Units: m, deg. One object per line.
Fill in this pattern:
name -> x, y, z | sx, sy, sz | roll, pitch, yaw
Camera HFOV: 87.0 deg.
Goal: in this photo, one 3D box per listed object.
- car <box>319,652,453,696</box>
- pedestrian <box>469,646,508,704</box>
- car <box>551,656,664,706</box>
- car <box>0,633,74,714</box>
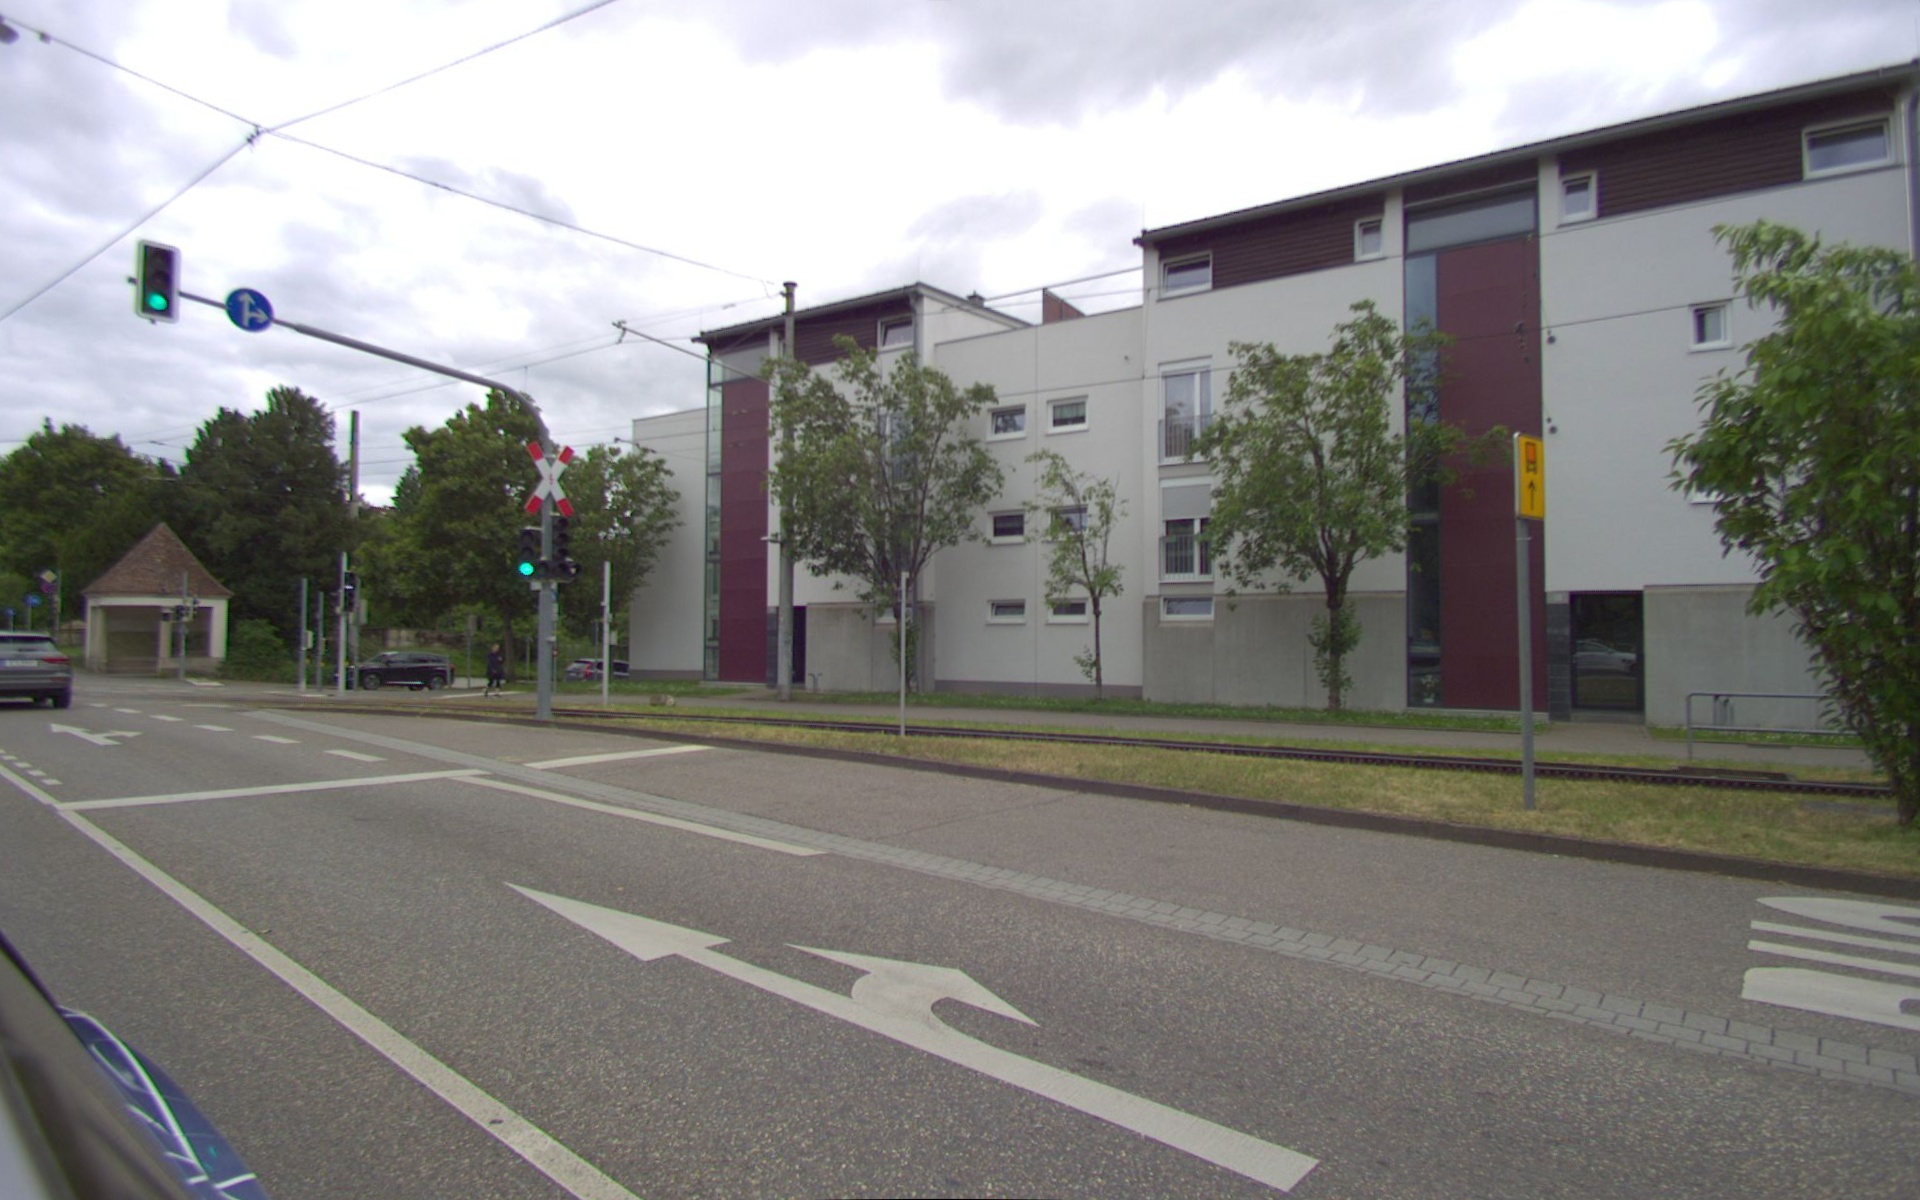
car -> -24.229, 3.164, 42.867 | 1.960, 1.682, 4.437 | -1, -6, 33
pedestrian -> -13.759, 2.182, 29.520 | 0.817, 1.657, 0.669 | -4, -6, 35
car -> -15.970, 3.706, 46.022 | 1.995, 2.029, 4.417 | -1, -7, 34
car -> -20.079, 1.479, 21.131 | 4.180, 1.571, 1.722 | -2, -4, 40
